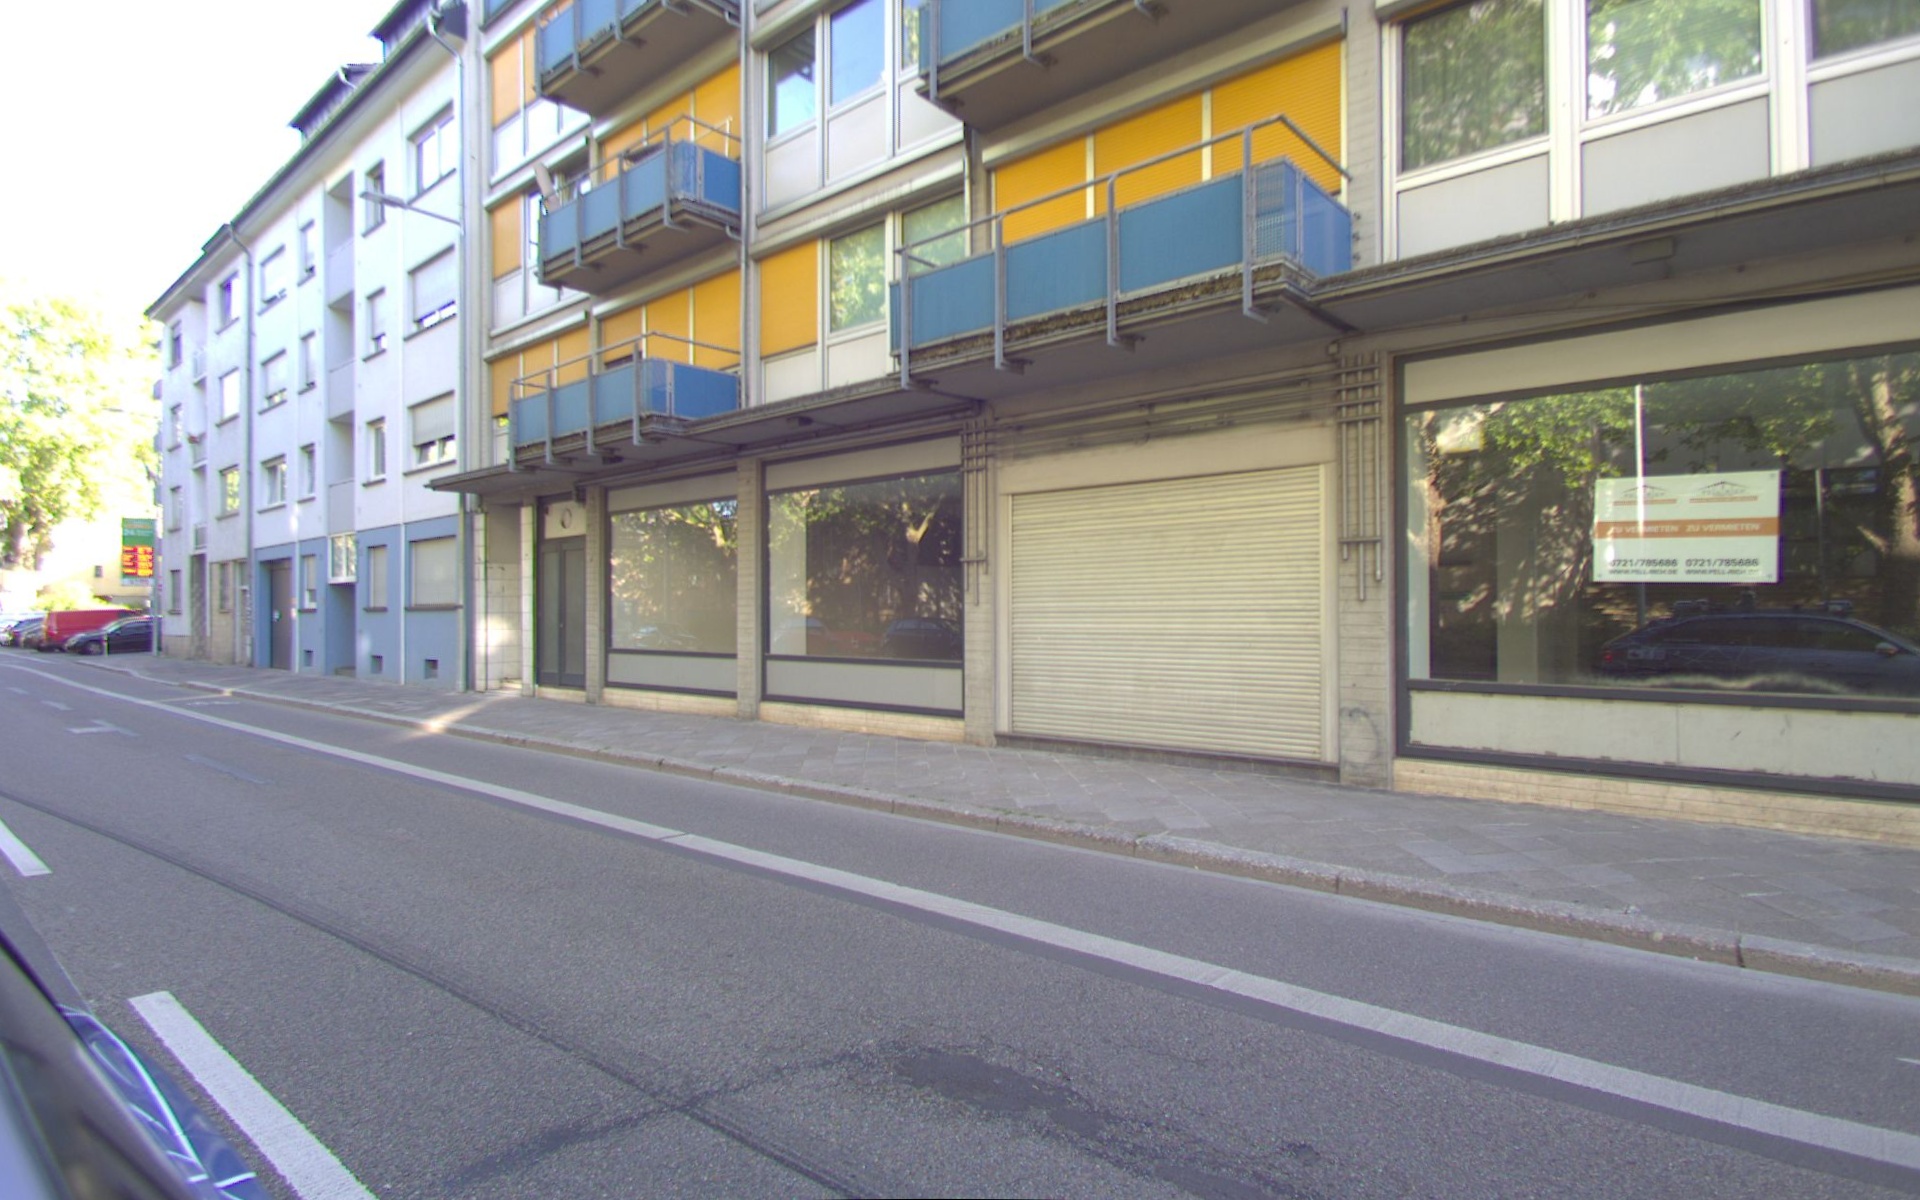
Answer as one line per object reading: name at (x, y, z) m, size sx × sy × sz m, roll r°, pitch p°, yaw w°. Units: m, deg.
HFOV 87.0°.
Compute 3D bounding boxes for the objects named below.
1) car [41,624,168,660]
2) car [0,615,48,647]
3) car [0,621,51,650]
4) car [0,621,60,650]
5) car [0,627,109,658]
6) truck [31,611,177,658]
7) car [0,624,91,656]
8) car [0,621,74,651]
car at (-36.931, 1.775, 43.738) m, size 1.780 × 1.404 × 3.947 m, roll -1°, pitch 0°, yaw 39°
car at (-59.771, 1.966, 63.832) m, size 1.693 × 1.953 × 3.224 m, roll -1°, pitch 0°, yaw 43°
car at (-56.899, 2.120, 60.391) m, size 1.740 × 1.600 × 3.685 m, roll -1°, pitch 0°, yaw 35°
car at (-55.079, 2.079, 58.998) m, size 1.715 × 1.594 × 3.660 m, roll -1°, pitch 0°, yaw 35°
car at (-43.445, 2.015, 48.353) m, size 1.904 × 1.282 × 3.983 m, roll -1°, pitch 0°, yaw 39°
truck at (-40.361, 1.581, 47.834) m, size 1.998 × 2.036 × 5.024 m, roll -1°, pitch 0°, yaw 40°
car at (-50.831, 2.179, 55.965) m, size 1.699 × 1.640 × 3.952 m, roll -1°, pitch 0°, yaw 35°
car at (-52.894, 2.035, 57.469) m, size 1.656 × 1.599 × 3.615 m, roll -1°, pitch 0°, yaw 35°
